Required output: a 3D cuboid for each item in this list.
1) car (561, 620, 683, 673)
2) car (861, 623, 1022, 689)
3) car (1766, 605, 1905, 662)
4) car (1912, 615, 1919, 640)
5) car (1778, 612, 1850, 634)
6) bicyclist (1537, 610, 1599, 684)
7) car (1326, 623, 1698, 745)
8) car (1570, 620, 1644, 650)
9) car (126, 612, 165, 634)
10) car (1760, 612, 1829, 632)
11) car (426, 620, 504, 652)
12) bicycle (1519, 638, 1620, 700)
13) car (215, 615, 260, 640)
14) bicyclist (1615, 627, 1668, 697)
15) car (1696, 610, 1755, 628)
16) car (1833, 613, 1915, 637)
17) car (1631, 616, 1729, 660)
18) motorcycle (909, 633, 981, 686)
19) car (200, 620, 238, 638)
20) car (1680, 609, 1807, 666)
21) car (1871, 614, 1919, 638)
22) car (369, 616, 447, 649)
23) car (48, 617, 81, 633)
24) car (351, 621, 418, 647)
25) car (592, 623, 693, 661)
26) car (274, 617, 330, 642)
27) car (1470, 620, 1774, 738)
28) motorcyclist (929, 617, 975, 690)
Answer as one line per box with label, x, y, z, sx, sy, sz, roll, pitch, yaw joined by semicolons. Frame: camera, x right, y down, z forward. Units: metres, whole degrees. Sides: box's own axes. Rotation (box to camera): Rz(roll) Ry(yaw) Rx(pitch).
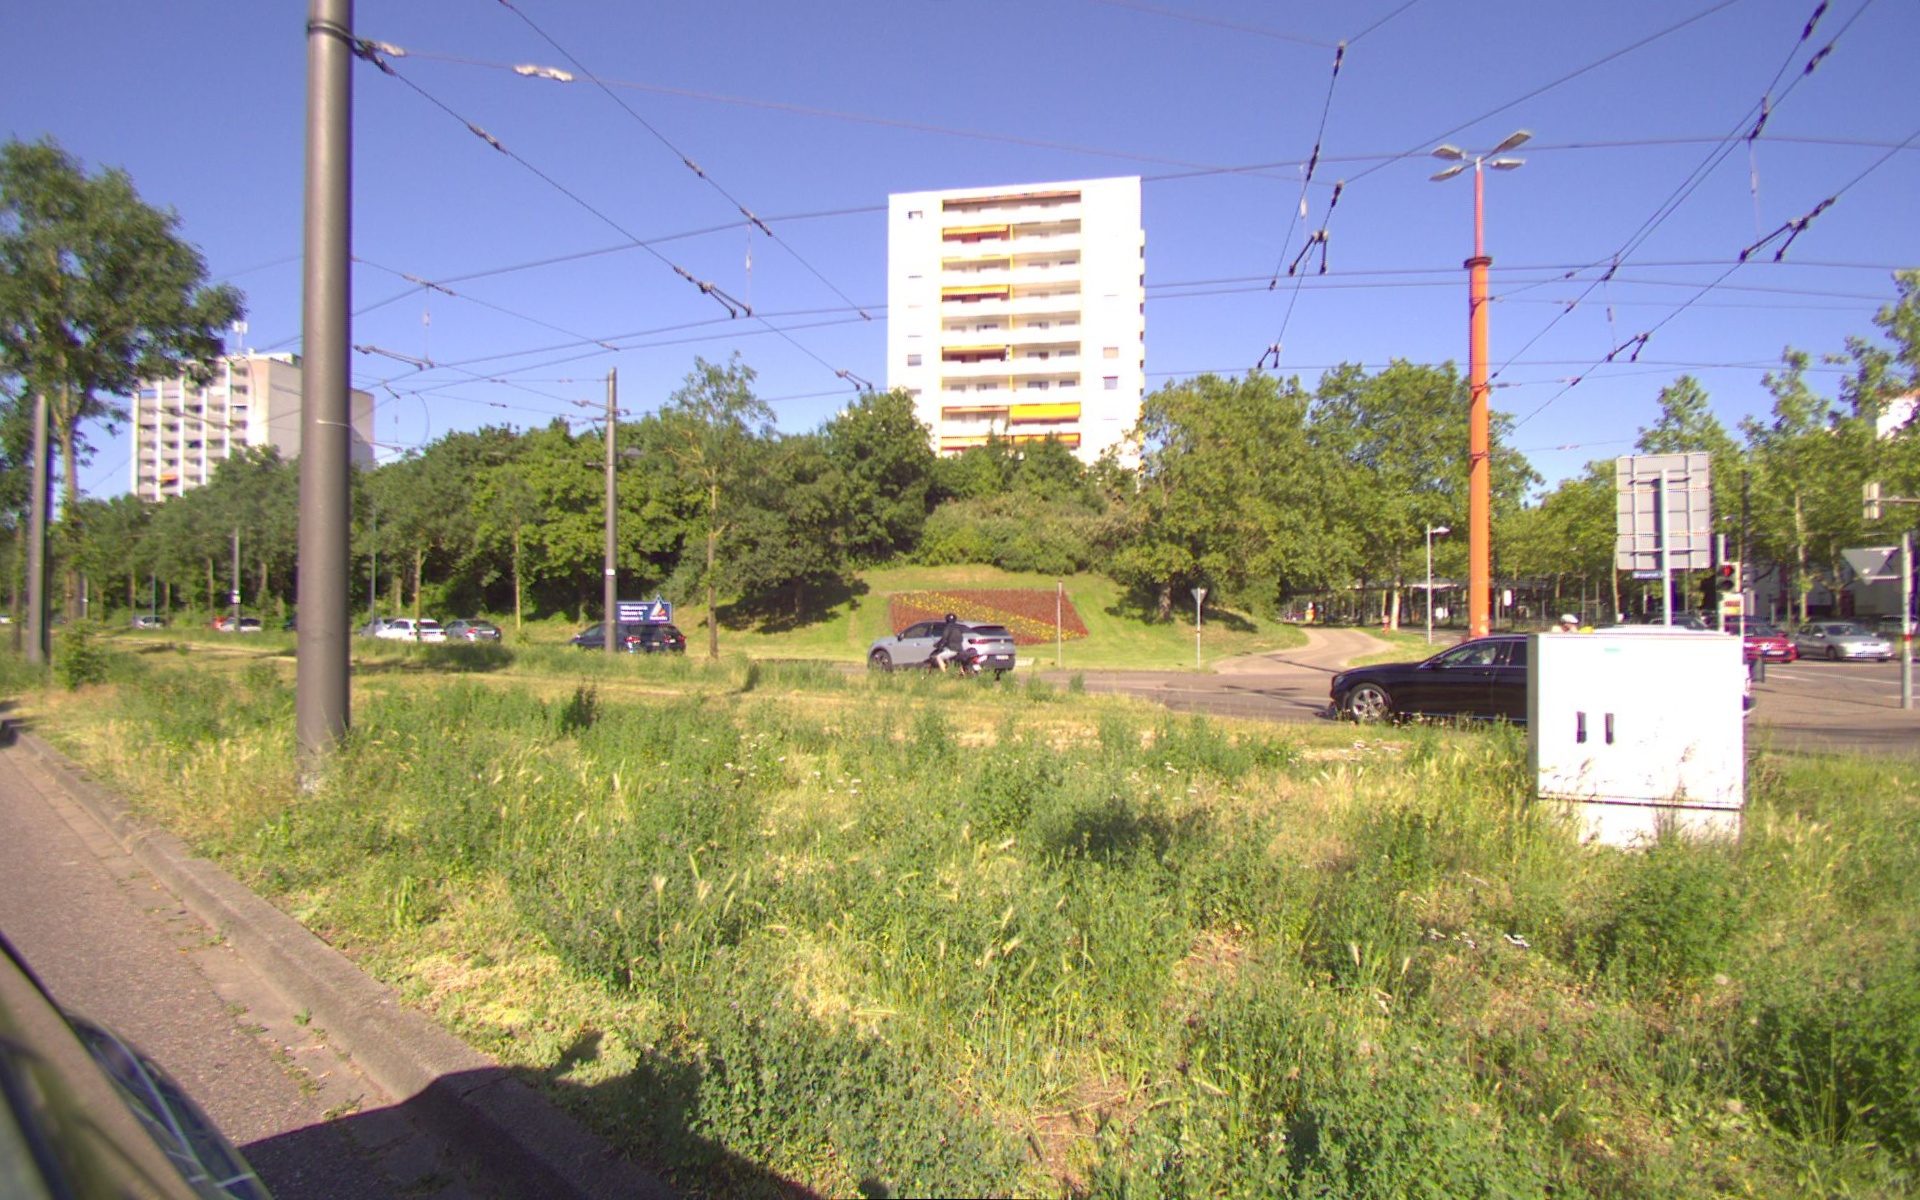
car;-11.079;1.481;33.044;4.465;1.606;1.971;-1;-2;44
car;-0.577;1.455;27.564;4.439;1.613;1.817;-1;-2;44
car;31.925;1.175;37.090;1.979;1.915;4.259;-1;0;11
car;64.136;1.759;65.014;1.864;1.608;4.010;0;0;-34
car;67.065;1.776;79.514;1.864;1.608;4.010;0;0;-34
bicyclist;12.134;0.929;20.211;0.741;1.441;0.757;-1;0;-3
car;8.120;1.122;15.157;4.603;1.496;1.856;-1;0;41
car;31.599;1.678;49.535;1.718;1.332;3.985;-1;0;11
car;-63.552;1.779;78.950;3.757;1.620;1.744;-1;-2;42
car;68.291;1.775;82.838;1.864;1.608;4.010;0;0;-34
car;-24.001;1.714;49.038;4.400;1.384;1.972;-1;0;43
bicycle;12.126;1.341;20.226;0.467;1.089;2.362;-1;0;-3
car;-45.527;1.731;63.742;4.183;1.484;1.571;-1;-2;44
bicyclist;13.370;1.198;19.863;0.541;1.333;0.700;-1;0;2
car;71.649;1.780;94.708;1.864;1.608;4.010;0;0;-34
car;65.527;1.770;72.620;1.864;1.608;4.010;0;0;-34
car;30.724;1.583;43.335;1.893;1.763;3.985;-1;0;11
motorcycle;-0.371;1.367;23.525;0.416;1.140;2.098;0;0;-41
car;-56.901;2.198;77.677;4.177;1.307;1.639;-1;0;43
car;28.669;1.321;37.216;1.979;1.915;4.259;-1;0;11
car;64.817;1.764;68.720;1.864;1.608;4.010;0;0;-34
car;-24.972;1.450;45.728;4.642;1.433;1.685;-1;-2;42
car;-85.911;2.394;97.072;4.992;1.420;1.971;-1;0;44
car;-32.788;1.917;57.616;4.693;1.443;1.972;-1;-2;42
car;-12.002;1.555;38.165;4.030;1.352;1.841;-1;-2;42
car;-42.403;1.866;65.163;4.631;1.492;1.972;-1;0;43
car;11.039;1.221;17.056;4.060;1.720;1.781;-1;-2;43
motorcyclist;-0.190;1.211;23.314;0.825;1.611;0.641;0;0;-41
